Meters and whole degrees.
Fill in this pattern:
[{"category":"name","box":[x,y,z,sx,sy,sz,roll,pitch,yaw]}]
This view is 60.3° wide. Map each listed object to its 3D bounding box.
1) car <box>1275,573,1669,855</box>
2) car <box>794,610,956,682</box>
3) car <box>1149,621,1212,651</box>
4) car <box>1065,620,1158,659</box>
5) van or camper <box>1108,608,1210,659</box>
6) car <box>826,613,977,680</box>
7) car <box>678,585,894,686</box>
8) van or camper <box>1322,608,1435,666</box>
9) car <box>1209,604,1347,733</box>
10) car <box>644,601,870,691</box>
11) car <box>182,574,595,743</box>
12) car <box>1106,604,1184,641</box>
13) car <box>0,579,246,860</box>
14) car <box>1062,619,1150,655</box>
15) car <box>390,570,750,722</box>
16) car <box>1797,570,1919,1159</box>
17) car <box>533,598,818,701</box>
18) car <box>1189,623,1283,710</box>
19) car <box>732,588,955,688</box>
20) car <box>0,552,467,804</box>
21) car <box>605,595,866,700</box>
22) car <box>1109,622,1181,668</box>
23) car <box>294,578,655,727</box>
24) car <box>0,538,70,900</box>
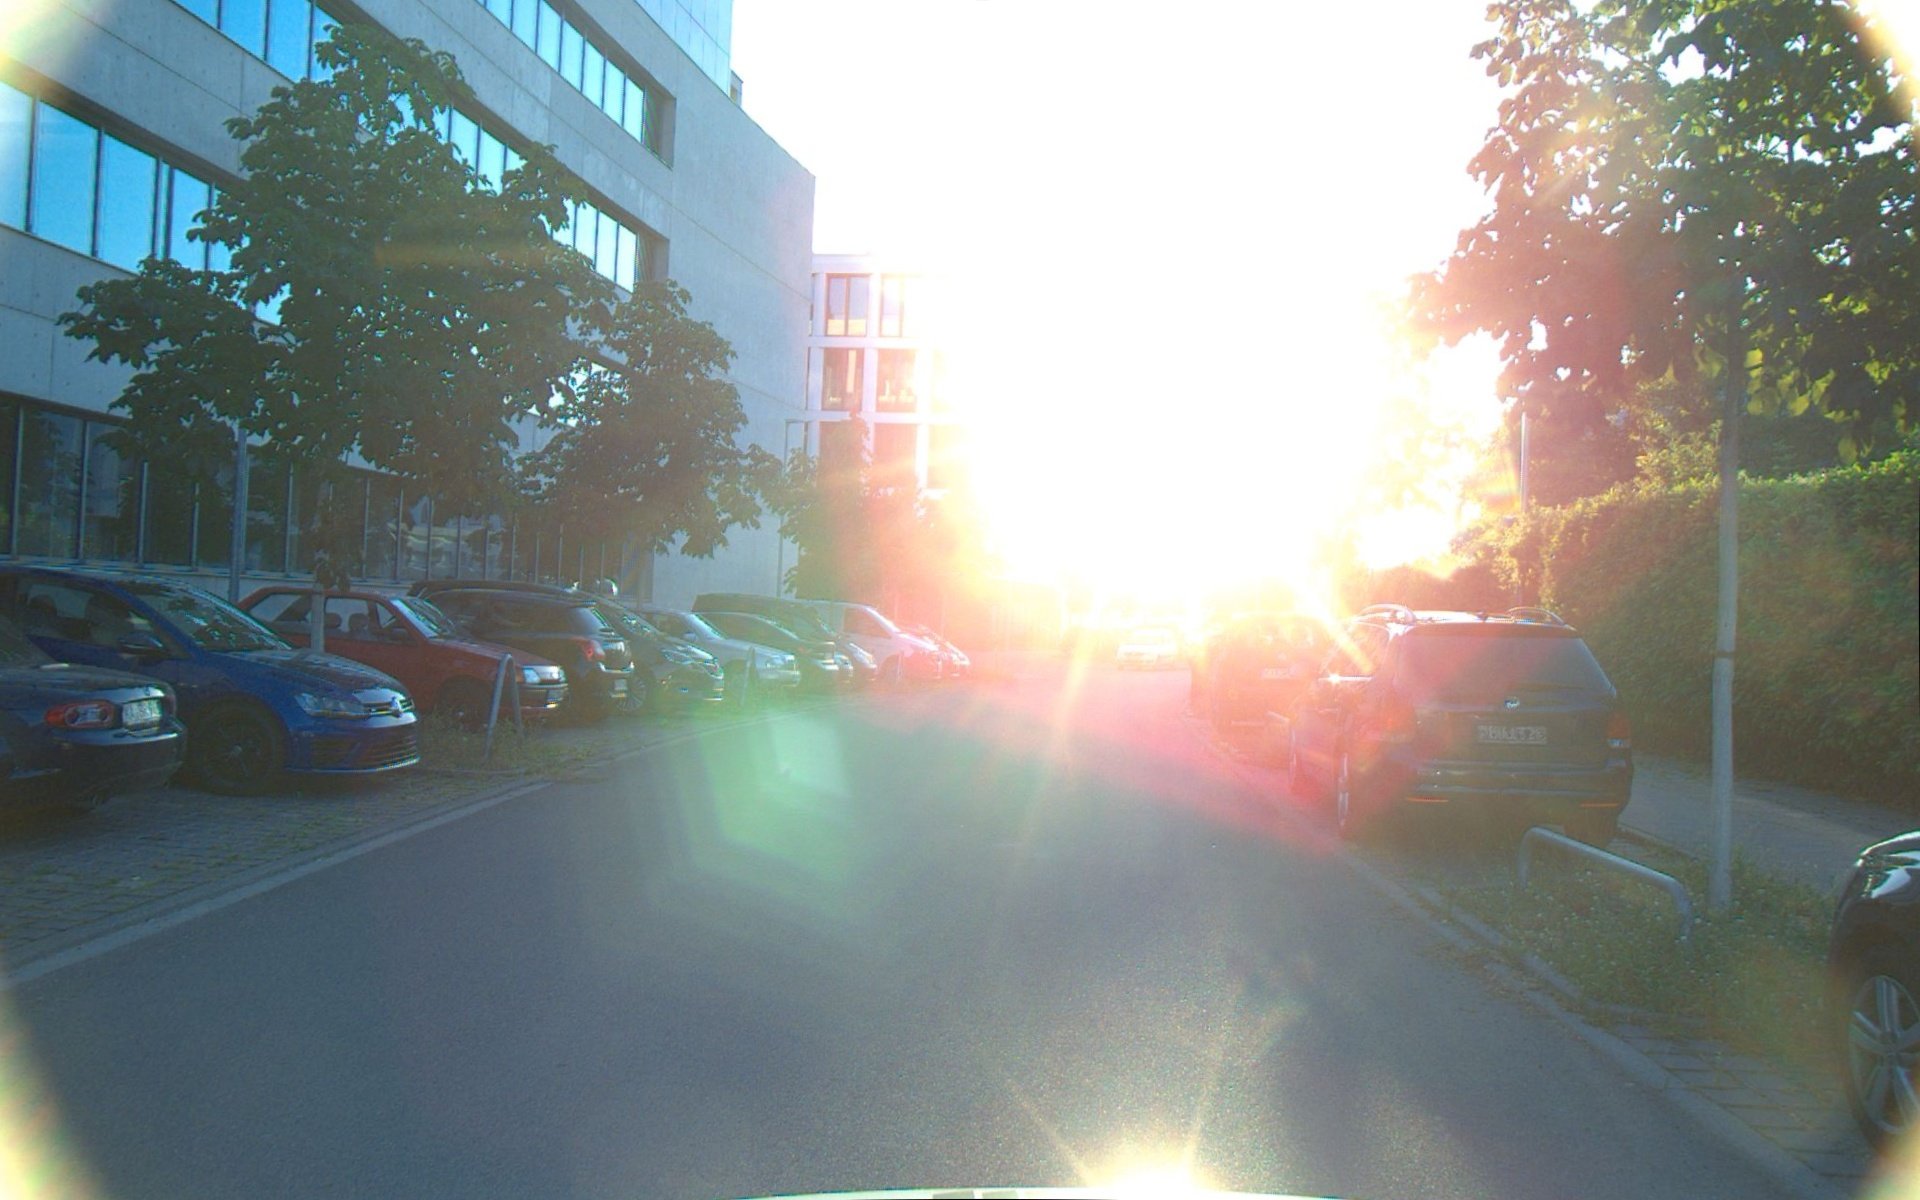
[{"category":"car","box":[3.389,0.665,11.839,1.675,1.577,4.550,2,0,4]},{"category":"car","box":[-2.192,1.200,43.372,3.903,1.549,1.607,4,-1,8]},{"category":"car","box":[13.030,2.129,97.572,3.484,1.681,1.458,0,0,17]},{"category":"car","box":[7.009,1.810,76.290,3.964,1.504,1.769,4,0,14]},{"category":"van or camper","box":[11.205,1.866,92.915,5.338,2.527,1.776,3,0,17]},{"category":"car","box":[-1.597,1.266,45.549,3.804,1.514,1.652,4,-1,10]},{"category":"car","box":[-3.679,0.760,35.348,4.157,1.772,1.726,4,-1,8]},{"category":"van or camper","box":[21.157,1.862,83.832,5.490,2.839,2.431,0,0,12]},{"category":"car","box":[4.142,0.880,21.940,1.544,1.536,3.498,1,-1,7]},{"category":"car","box":[-4.010,0.915,32.949,4.057,1.428,1.726,4,-1,8]},{"category":"car","box":[-5.886,0.596,17.318,3.625,1.483,1.712,3,-1,3]},{"category":"car","box":[9.850,1.183,88.189,3.963,1.941,1.737,0,0,13]},{"category":"car","box":[-6.207,0.545,9.315,3.561,1.385,1.685,3,0,-3]},{"category":"car","box":[7.191,1.814,81.262,3.965,1.505,1.768,4,-1,17]},{"category":"car","box":[-5.126,0.604,22.117,4.218,1.726,1.897,3,-1,4]},{"category":"car","box":[3.398,0.729,3.290,1.704,1.579,3.641,2,0,2]},{"category":"car","box":[-4.755,0.806,27.930,4.339,1.489,1.764,3,0,8]},{"category":"car","box":[5.333,1.257,31.971,1.656,1.536,4.196,1,-1,9]},{"category":"car","box":[-2.786,0.915,40.163,4.969,1.980,1.890,4,-1,9]},{"category":"car","box":[-5.841,0.501,12.180,3.790,1.538,1.760,3,0,2]},{"category":"car","box":[-4.086,0.863,30.352,4.305,1.525,1.764,4,-1,12]},{"category":"car","box":[7.515,1.831,66.767,1.912,1.716,4.723,0,-3,19]},{"category":"car","box":[-5.614,0.603,19.402,3.624,1.483,1.680,3,-1,4]},{"category":"car","box":[-6.001,0.390,6.543,3.906,1.538,1.760,3,0,-1]}]
